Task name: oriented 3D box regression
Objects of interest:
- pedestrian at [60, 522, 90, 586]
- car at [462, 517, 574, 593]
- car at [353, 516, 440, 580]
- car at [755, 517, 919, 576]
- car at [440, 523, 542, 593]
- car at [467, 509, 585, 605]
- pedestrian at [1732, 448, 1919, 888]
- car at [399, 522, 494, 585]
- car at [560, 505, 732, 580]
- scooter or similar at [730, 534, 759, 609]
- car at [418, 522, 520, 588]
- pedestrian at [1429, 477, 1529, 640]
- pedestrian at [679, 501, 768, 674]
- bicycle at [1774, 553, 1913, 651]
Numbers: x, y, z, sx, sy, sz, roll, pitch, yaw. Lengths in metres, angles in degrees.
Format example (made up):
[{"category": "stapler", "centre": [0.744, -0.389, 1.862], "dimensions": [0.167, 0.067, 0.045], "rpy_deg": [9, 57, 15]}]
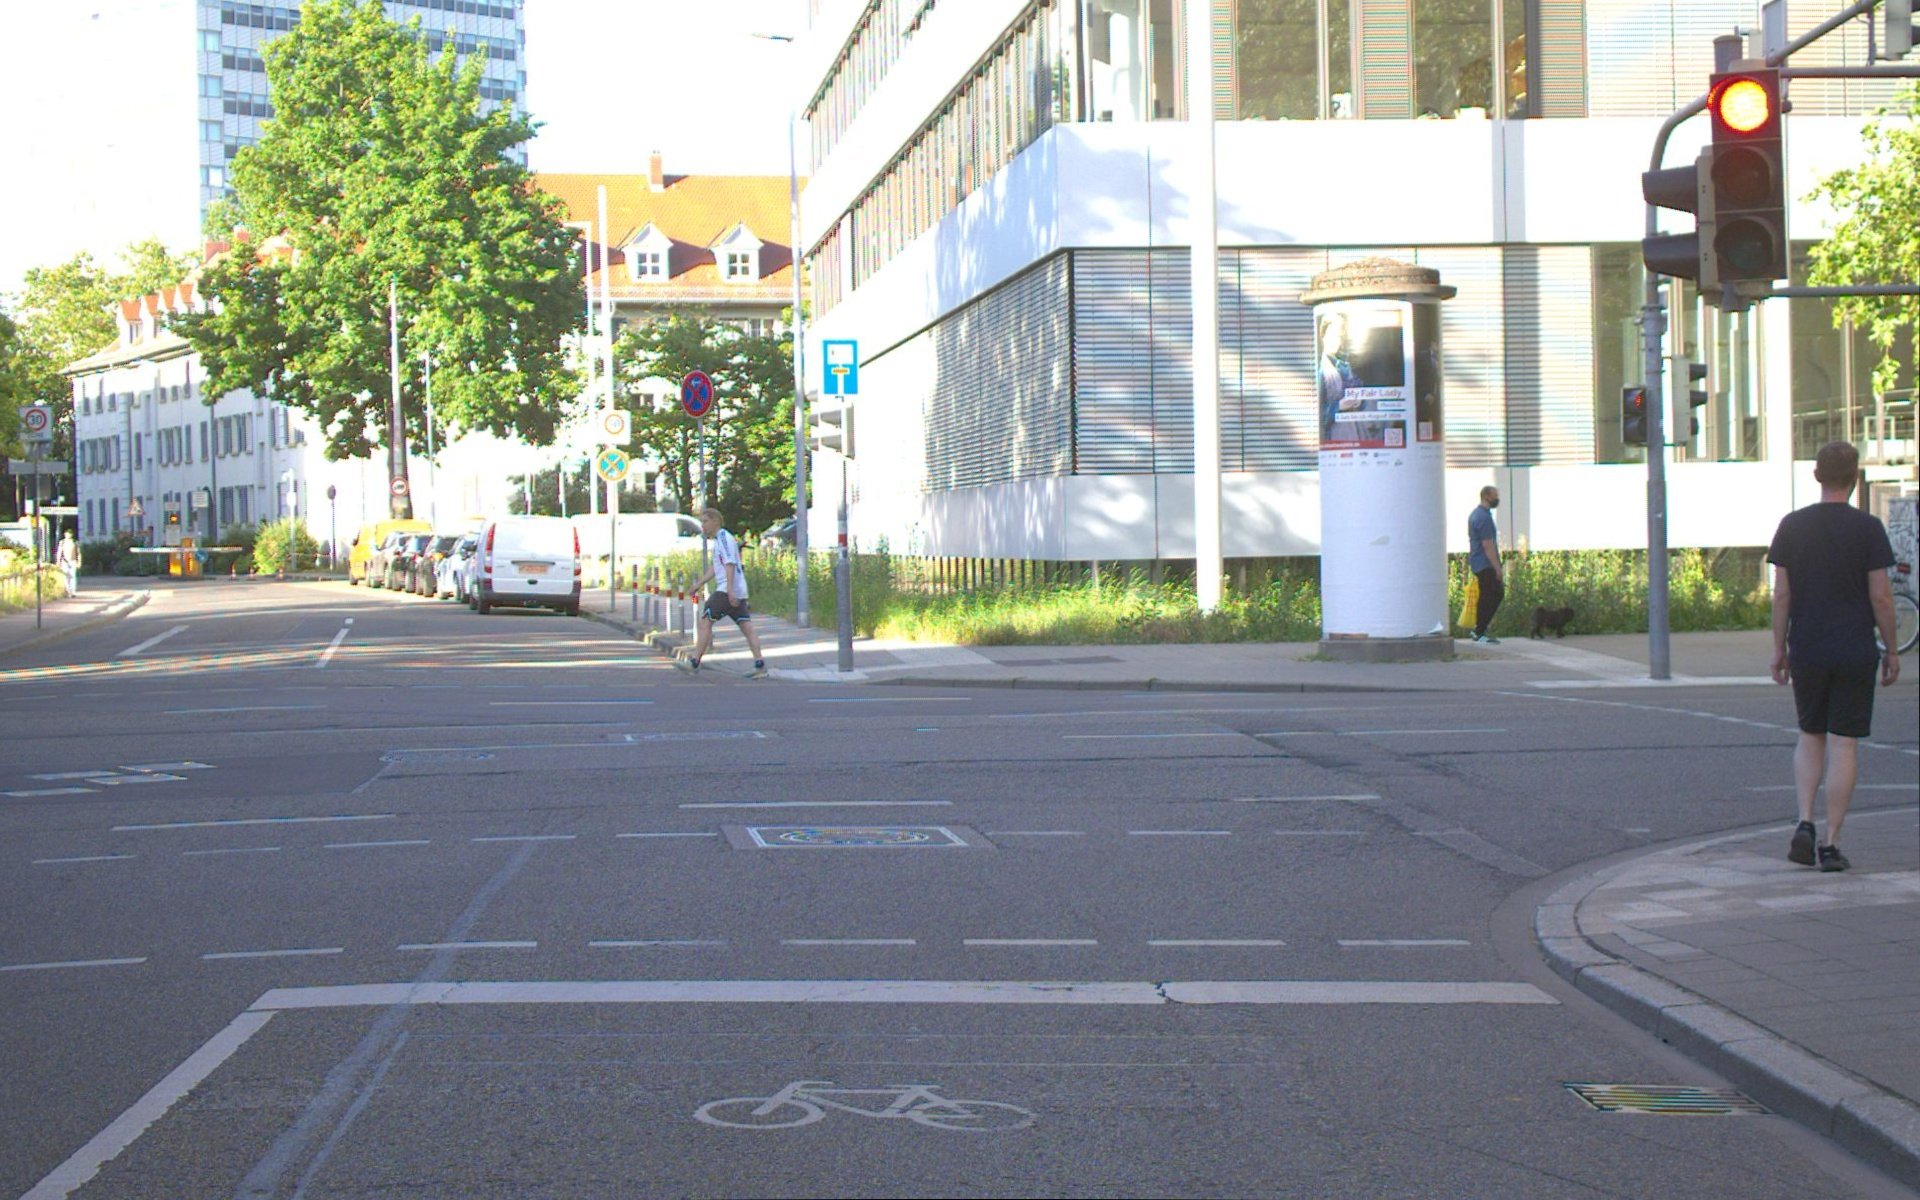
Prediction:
[{"category": "pedestrian", "centre": [-22.236, -1.158, 86.378], "dimensions": [0.699, 1.581, 0.637], "rpy_deg": [1, 0, -16]}, {"category": "car", "centre": [-9.169, -0.933, 71.038], "dimensions": [1.993, 1.493, 4.653], "rpy_deg": [1, 1, -11]}, {"category": "car", "centre": [-15.736, -1.449, 95.837], "dimensions": [1.993, 1.719, 4.653], "rpy_deg": [1, 1, -14]}, {"category": "car", "centre": [-3.753, -1.630, 104.777], "dimensions": [4.635, 1.719, 2.001], "rpy_deg": [1, 0, -16]}, {"category": "car", "centre": [-10.503, -0.933, 76.810], "dimensions": [1.993, 1.493, 4.653], "rpy_deg": [1, 1, -11]}, {"category": "car", "centre": [-8.218, -0.815, 64.825], "dimensions": [1.993, 1.719, 4.653], "rpy_deg": [1, 1, -10]}, {"category": "pedestrian", "centre": [3.673, 0.276, 14.549], "dimensions": [0.700, 1.804, 0.719], "rpy_deg": [1, 0, 7]}, {"category": "car", "centre": [-12.878, -1.162, 85.981], "dimensions": [1.993, 1.493, 4.653], "rpy_deg": [1, 1, -13]}, {"category": "car", "centre": [-9.400, -1.702, 102.933], "dimensions": [4.791, 2.151, 2.001], "rpy_deg": [1, 0, -17]}, {"category": "scooter or similar", "centre": [-3.657, -0.490, 58.294], "dimensions": [0.437, 1.252, 1.420], "rpy_deg": [-1, 1, -4]}, {"category": "car", "centre": [-11.624, -1.058, 81.257], "dimensions": [1.993, 1.493, 4.288], "rpy_deg": [1, 1, -13]}, {"category": "pedestrian", "centre": [5.859, -0.469, 38.865], "dimensions": [0.914, 1.809, 0.762], "rpy_deg": [1, 0, -8]}, {"category": "pedestrian", "centre": [-2.592, -0.140, 37.706], "dimensions": [0.914, 1.862, 0.742], "rpy_deg": [1, 0, -1]}, {"category": "bicycle", "centre": [9.286, 0.019, 36.150], "dimensions": [0.378, 1.005, 1.432], "rpy_deg": [-2, 2, -42]}]
